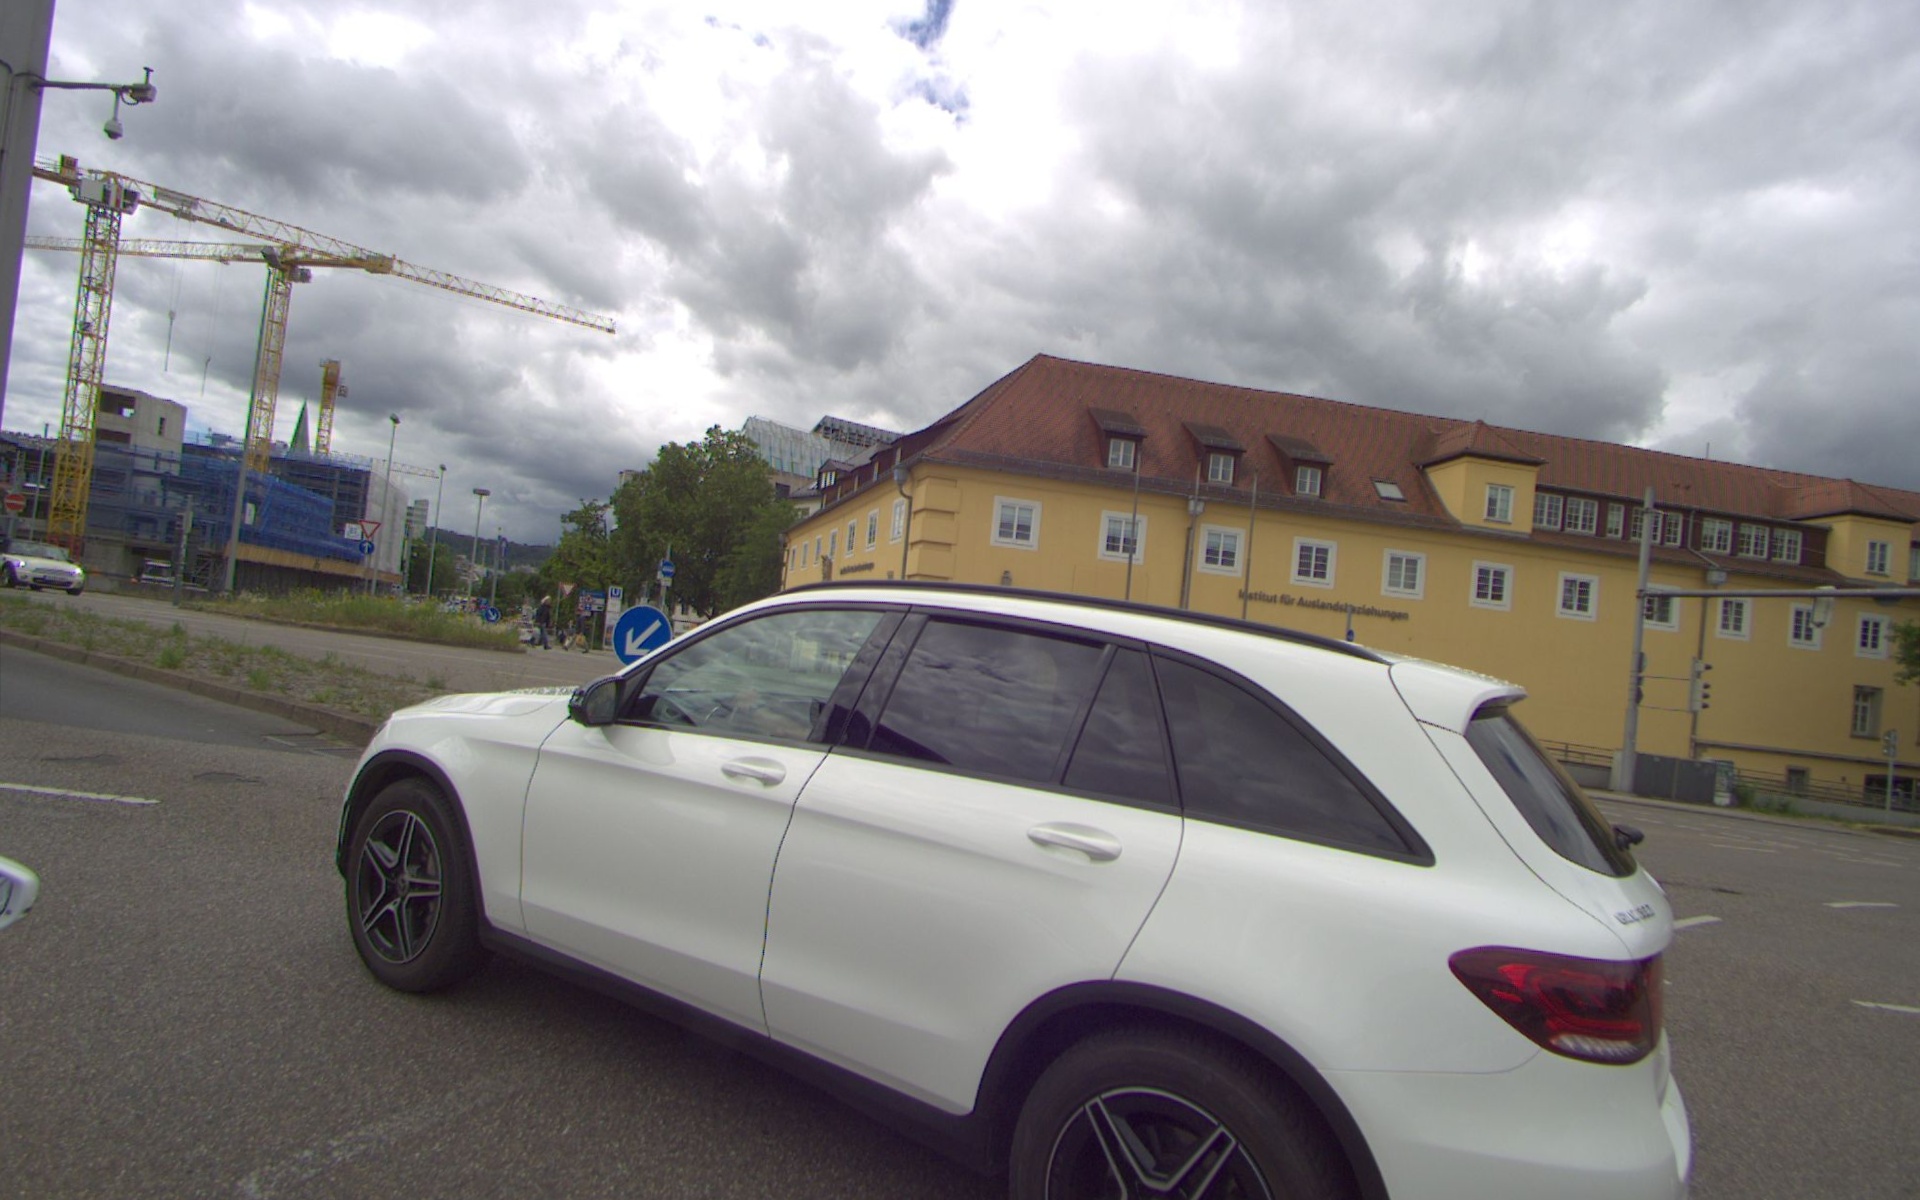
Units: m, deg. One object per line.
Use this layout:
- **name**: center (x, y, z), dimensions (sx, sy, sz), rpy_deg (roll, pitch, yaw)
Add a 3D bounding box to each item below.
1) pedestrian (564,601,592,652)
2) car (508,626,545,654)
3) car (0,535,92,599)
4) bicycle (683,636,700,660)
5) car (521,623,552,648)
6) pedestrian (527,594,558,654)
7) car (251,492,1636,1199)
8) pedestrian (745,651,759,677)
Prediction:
- **pedestrian**: center (-14.395, 0.992, 37.921), dimensions (0.742, 1.808, 0.824), rpy_deg (8, -3, -22)
- **car**: center (-29.305, 2.745, 68.151), dimensions (1.853, 1.617, 3.990), rpy_deg (9, -6, -19)
- **car**: center (-26.655, -1.018, 28.491), dimensions (3.583, 1.433, 1.730), rpy_deg (7, -4, 26)
- **bicycle**: center (-13.719, 2.425, 51.369), dimensions (0.612, 1.097, 1.766), rpy_deg (8, -4, -19)
- **car**: center (-34.625, 2.917, 82.308), dimensions (1.973, 1.653, 3.984), rpy_deg (9, -3, -20)
- **pedestrian**: center (-13.964, 0.806, 33.668), dimensions (0.554, 1.917, 0.631), rpy_deg (8, 0, -40)
- **car**: center (-0.346, 0.711, 3.534), dimensions (4.262, 1.665, 1.806), rpy_deg (6, -2, 31)
- **pedestrian**: center (-12.433, 3.831, 60.066), dimensions (0.618, 1.466, 0.722), rpy_deg (8, -2, -14)
